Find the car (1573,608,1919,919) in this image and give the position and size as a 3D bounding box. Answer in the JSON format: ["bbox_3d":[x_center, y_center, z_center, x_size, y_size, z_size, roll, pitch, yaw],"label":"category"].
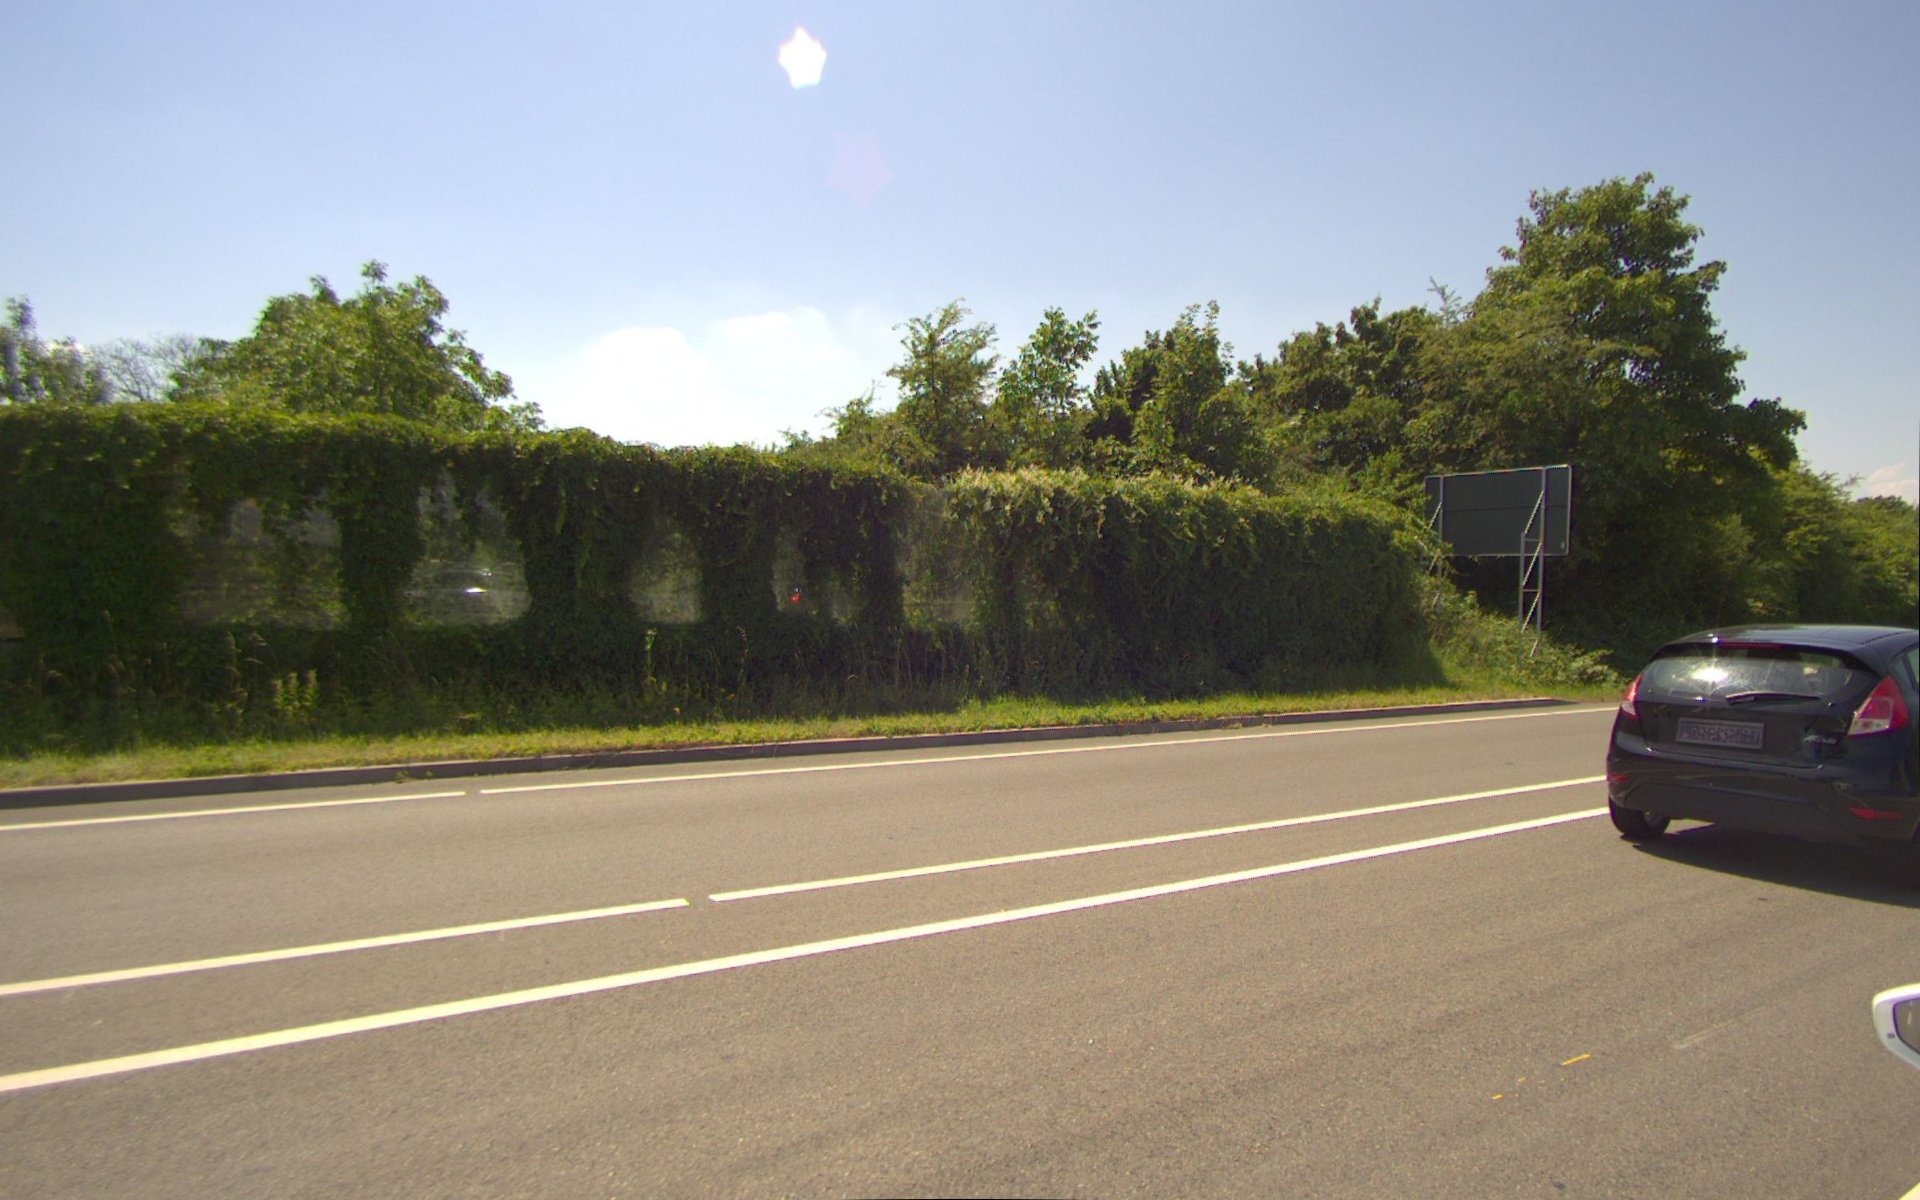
[{"bbox_3d":[6.167,0.848,6.928,4.161,1.514,1.643,0,1,-32],"label":"car"}]
